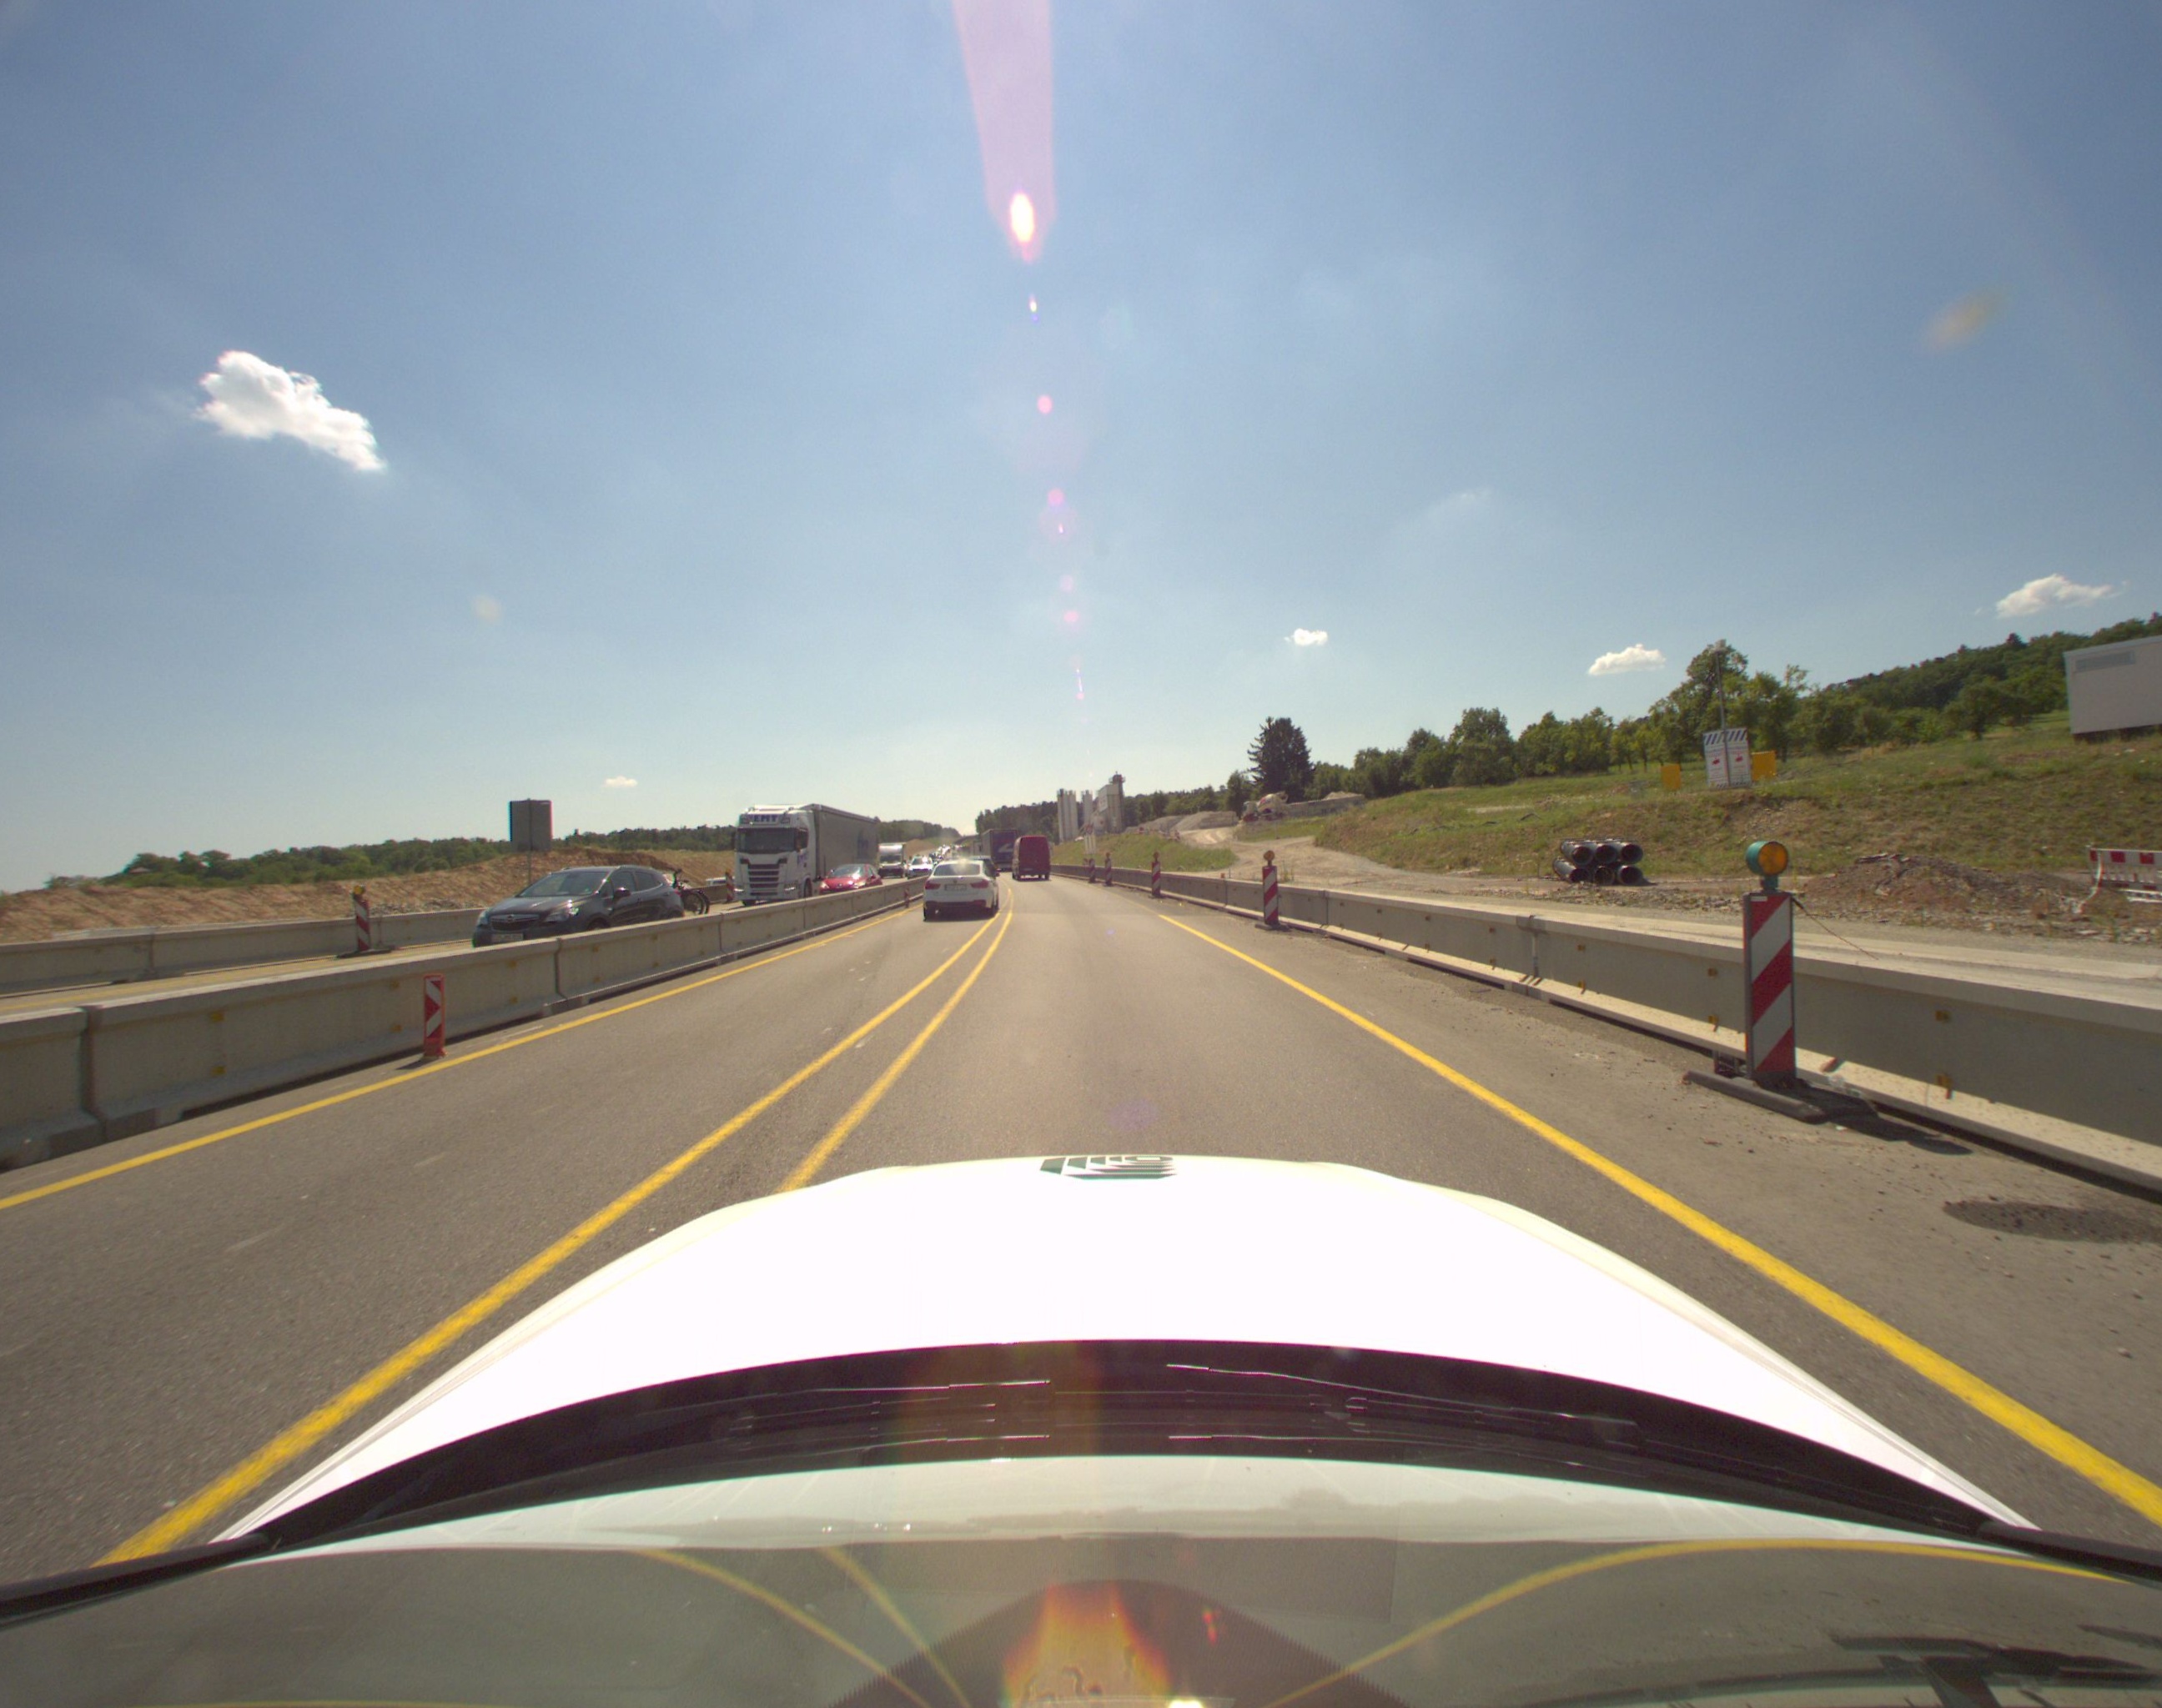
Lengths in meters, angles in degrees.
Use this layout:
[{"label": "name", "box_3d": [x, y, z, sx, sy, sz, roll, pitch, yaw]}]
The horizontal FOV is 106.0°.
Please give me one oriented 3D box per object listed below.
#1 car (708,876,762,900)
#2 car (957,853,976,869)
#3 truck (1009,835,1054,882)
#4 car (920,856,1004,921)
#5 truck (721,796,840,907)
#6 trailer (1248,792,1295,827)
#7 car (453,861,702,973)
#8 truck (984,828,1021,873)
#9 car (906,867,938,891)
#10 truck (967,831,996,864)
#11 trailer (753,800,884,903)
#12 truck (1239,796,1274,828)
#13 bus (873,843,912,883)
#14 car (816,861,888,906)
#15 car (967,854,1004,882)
[{"label": "car", "box_3d": [-24.515, 2.382, 57.712, 3.215, 1.455, 1.531, -3, 0, -35]}, {"label": "car", "box_3d": [-12.216, 0.690, 87.089, 1.800, 1.579, 3.991, -3, 0, -6]}, {"label": "truck", "box_3d": [-3.156, 0.270, 50.907, 2.111, 2.633, 6.464, -3, 0, -9]}, {"label": "car", "box_3d": [-3.192, 0.861, 22.811, 1.791, 1.534, 5.068, -1, 0, -3]}, {"label": "truck", "box_3d": [-12.183, -0.089, 33.557, 2.693, 4.062, 5.499, -3, 0, 0]}, {"label": "trailer", "box_3d": [25.037, -5.768, 107.466, 2.764, 4.114, 6.703, -3, 0, -18]}, {"label": "car", "box_3d": [-8.815, 0.992, 14.802, 1.654, 1.605, 4.397, -3, 0, 1]}, {"label": "truck", "box_3d": [-7.982, -0.284, 81.693, 3.015, 4.152, 8.245, -3, 0, -9]}, {"label": "car", "box_3d": [-11.309, 1.764, 58.243, 1.794, 1.475, 4.765, -3, 0, -7]}, {"label": "truck", "box_3d": [-15.212, -0.916, 125.077, 3.678, 4.691, 9.735, -3, 0, -5]}, {"label": "trailer", "box_3d": [-12.556, -0.106, 40.754, 2.755, 4.114, 13.957, -3, 0, -4]}, {"label": "truck", "box_3d": [23.890, -5.704, 110.941, 2.753, 4.095, 4.074, -3, 0, -19]}, {"label": "bus", "box_3d": [-16.287, 0.752, 70.733, 2.346, 3.125, 7.213, -3, 0, -6]}, {"label": "car", "box_3d": [-8.593, 1.071, 30.864, 1.664, 1.475, 3.967, -3, 0, -2]}, {"label": "car", "box_3d": [-5.732, 0.806, 49.366, 1.790, 1.534, 3.929, -3, 0, -1]}]
